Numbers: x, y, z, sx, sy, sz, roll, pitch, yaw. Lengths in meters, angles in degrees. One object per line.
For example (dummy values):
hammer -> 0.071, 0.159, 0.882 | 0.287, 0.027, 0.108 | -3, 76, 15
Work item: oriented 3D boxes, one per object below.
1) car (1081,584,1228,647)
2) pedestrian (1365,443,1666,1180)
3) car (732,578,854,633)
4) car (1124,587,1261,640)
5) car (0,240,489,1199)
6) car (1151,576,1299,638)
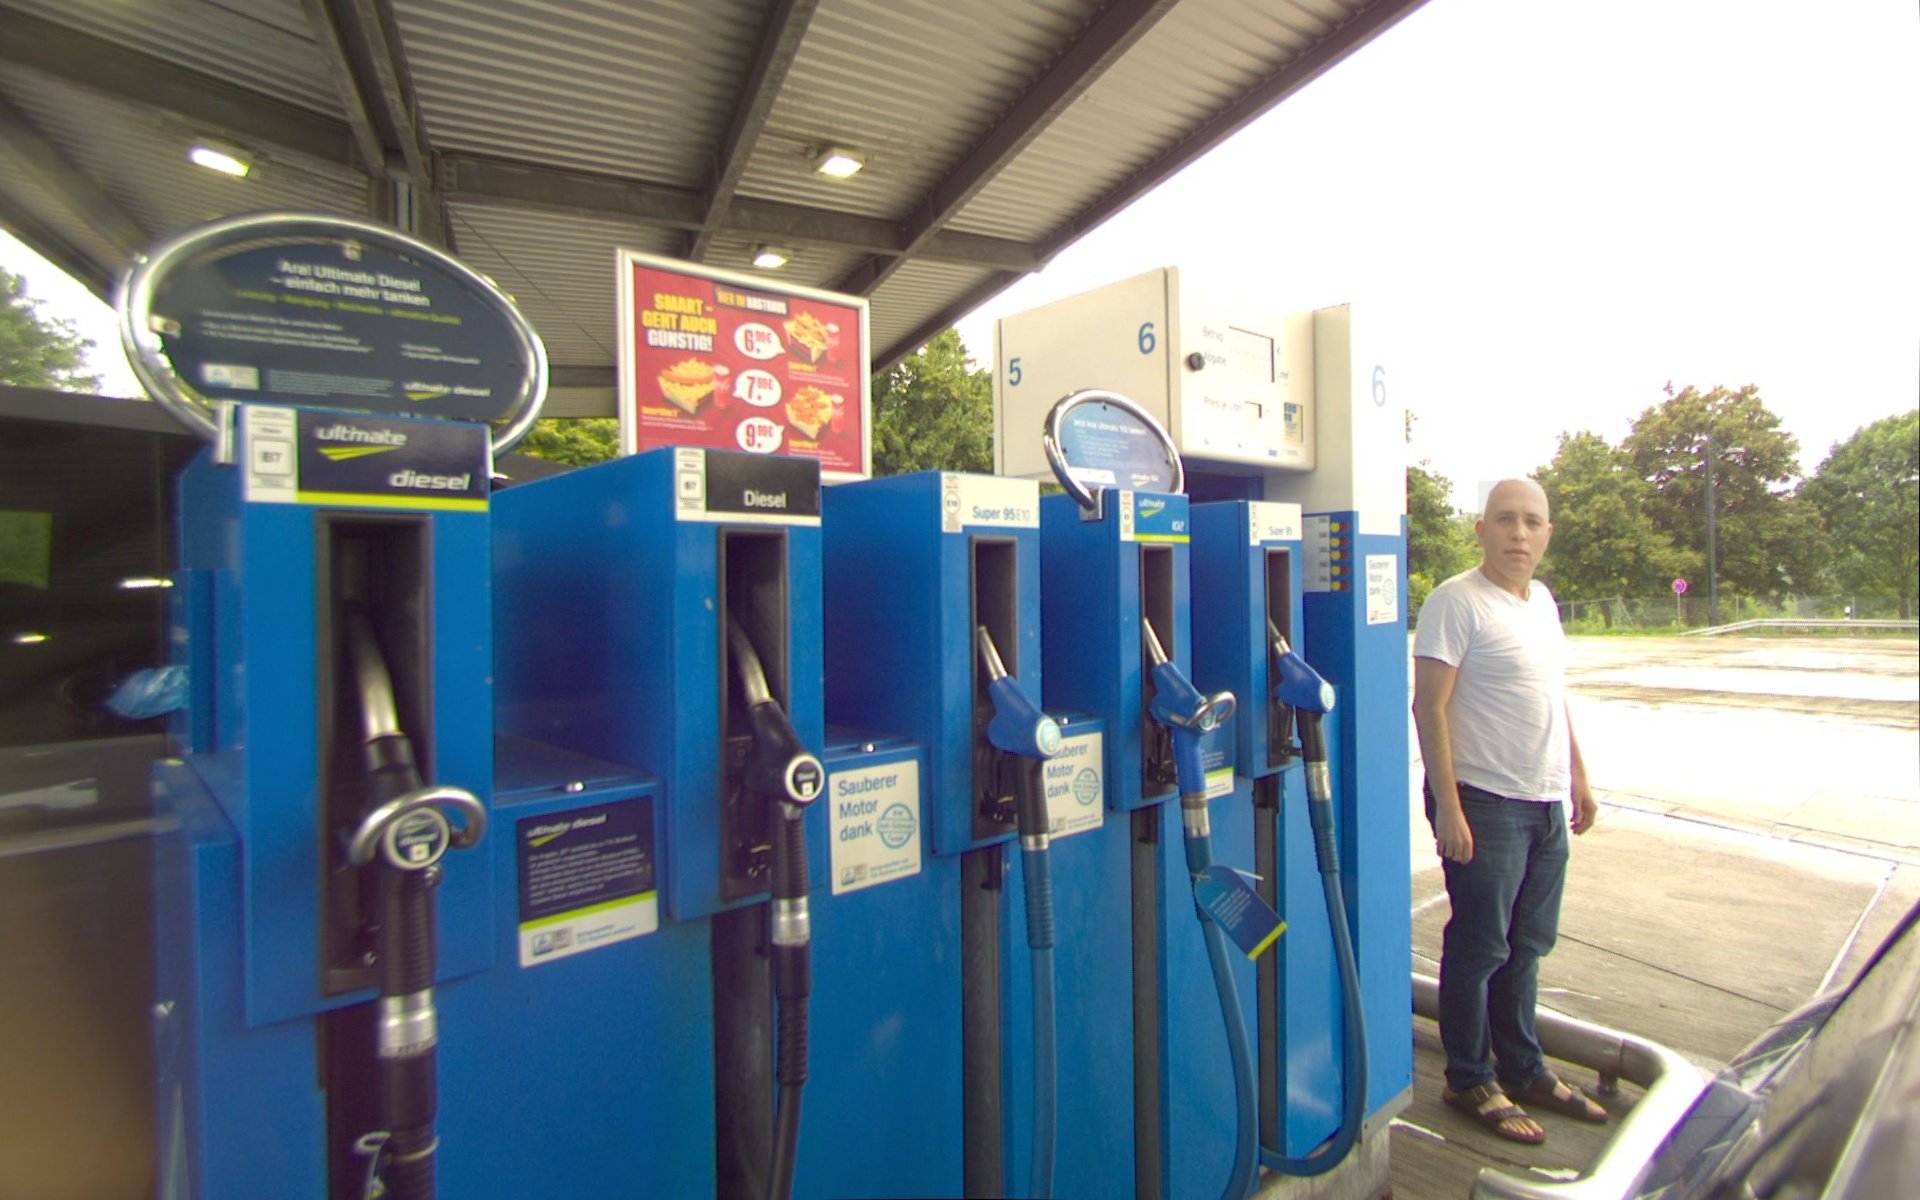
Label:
car -> 5.797, 0.420, 30.005 | 4.123, 1.752, 1.990 | 0, 0, 17
pedestrian -> 1.577, 0.516, 2.884 | 0.621, 1.832, 0.495 | -2, 1, -31
car -> -5.583, 0.150, 33.479 | 1.967, 1.683, 4.170 | 0, 0, -44
car -> 7.386, 0.404, 32.139 | 4.123, 1.576, 1.990 | 0, 0, 17
car -> -3.038, 0.410, 1.471 | 3.930, 1.973, 1.819 | 0, 0, -41
car -> 8.923, 0.207, 34.324 | 4.700, 2.011, 2.007 | 0, 0, 14
